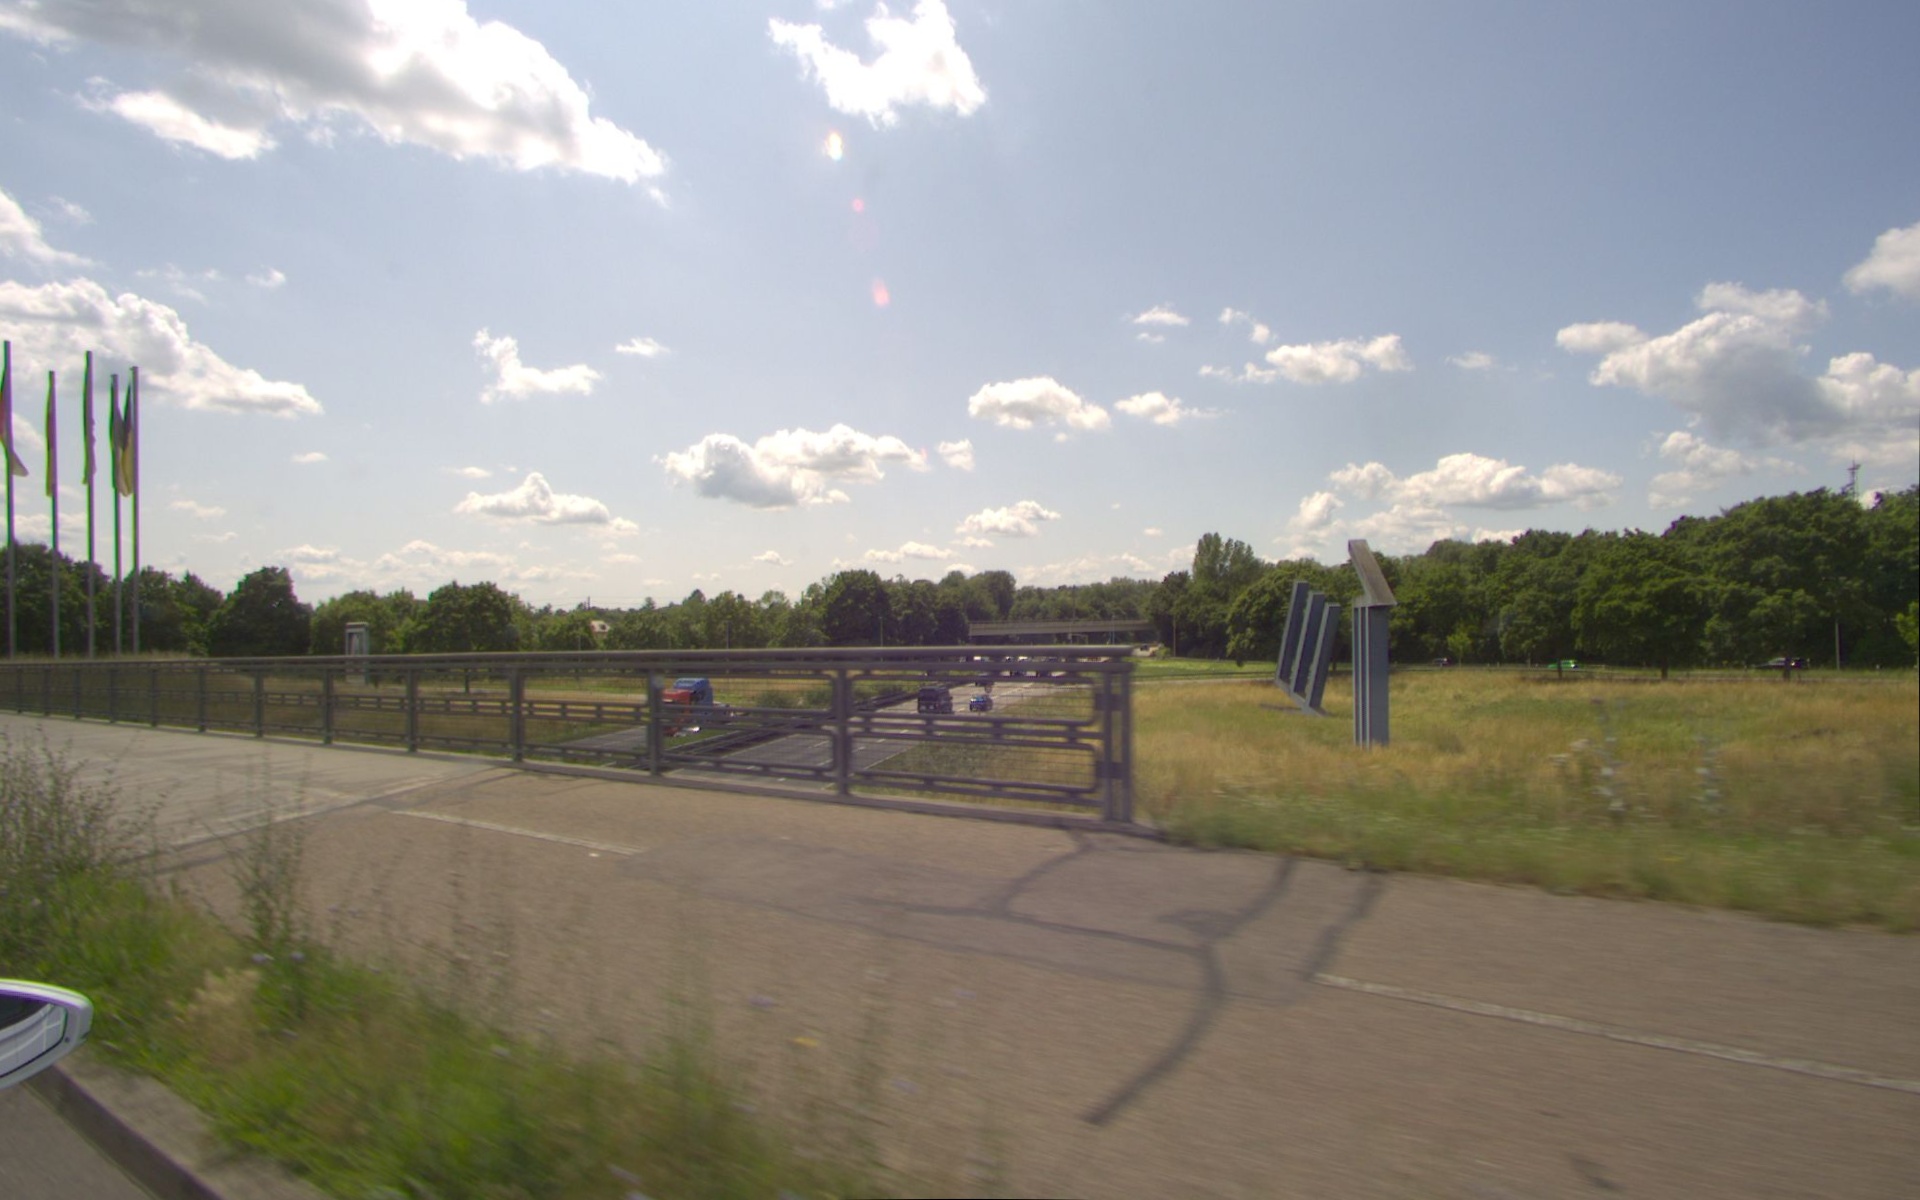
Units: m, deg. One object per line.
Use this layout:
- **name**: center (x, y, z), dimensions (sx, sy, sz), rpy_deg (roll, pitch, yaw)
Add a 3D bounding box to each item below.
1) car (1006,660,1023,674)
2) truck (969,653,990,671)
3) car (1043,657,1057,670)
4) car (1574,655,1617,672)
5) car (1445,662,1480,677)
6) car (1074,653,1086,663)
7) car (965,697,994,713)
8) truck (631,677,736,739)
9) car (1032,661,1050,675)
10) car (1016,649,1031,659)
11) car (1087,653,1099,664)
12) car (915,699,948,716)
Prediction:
- **car**: center (8.085, 9.960, 148.884), dimensions (1.962, 2.039, 4.000), rpy_deg (0, -3, 12)
- **truck**: center (3.108, 9.818, 158.878), dimensions (1.962, 2.735, 6.618), rpy_deg (0, -3, 12)
- **car**: center (15.593, 10.996, 173.347), dimensions (1.962, 2.039, 4.000), rpy_deg (0, -3, 12)
- **car**: center (74.118, 7.394, 116.829), dimensions (1.965, 1.905, 3.994), rpy_deg (1, -3, -18)
- **car**: center (66.438, 9.176, 132.385), dimensions (1.965, 1.905, 3.994), rpy_deg (1, -3, -18)
- **car**: center (24.010, 11.583, 200.488), dimensions (1.962, 2.039, 4.000), rpy_deg (0, -3, 12)
- **car**: center (1.890, 10.190, 97.442), dimensions (1.963, 1.304, 3.999), rpy_deg (0, -3, 15)
- **truck**: center (-22.524, 8.705, 82.370), dimensions (3.943, 4.458, 9.628), rpy_deg (0, -3, 15)
- **car**: center (11.865, 9.934, 146.504), dimensions (1.962, 2.039, 4.000), rpy_deg (0, -3, 12)
- **car**: center (11.935, 10.102, 188.154), dimensions (1.963, 1.765, 3.999), rpy_deg (0, -3, 15)
- **car**: center (25.415, 11.190, 191.925), dimensions (1.962, 2.039, 4.000), rpy_deg (0, -3, 12)
- **car**: center (-2.607, 9.935, 92.655), dimensions (1.963, 1.304, 3.999), rpy_deg (0, -3, 15)
